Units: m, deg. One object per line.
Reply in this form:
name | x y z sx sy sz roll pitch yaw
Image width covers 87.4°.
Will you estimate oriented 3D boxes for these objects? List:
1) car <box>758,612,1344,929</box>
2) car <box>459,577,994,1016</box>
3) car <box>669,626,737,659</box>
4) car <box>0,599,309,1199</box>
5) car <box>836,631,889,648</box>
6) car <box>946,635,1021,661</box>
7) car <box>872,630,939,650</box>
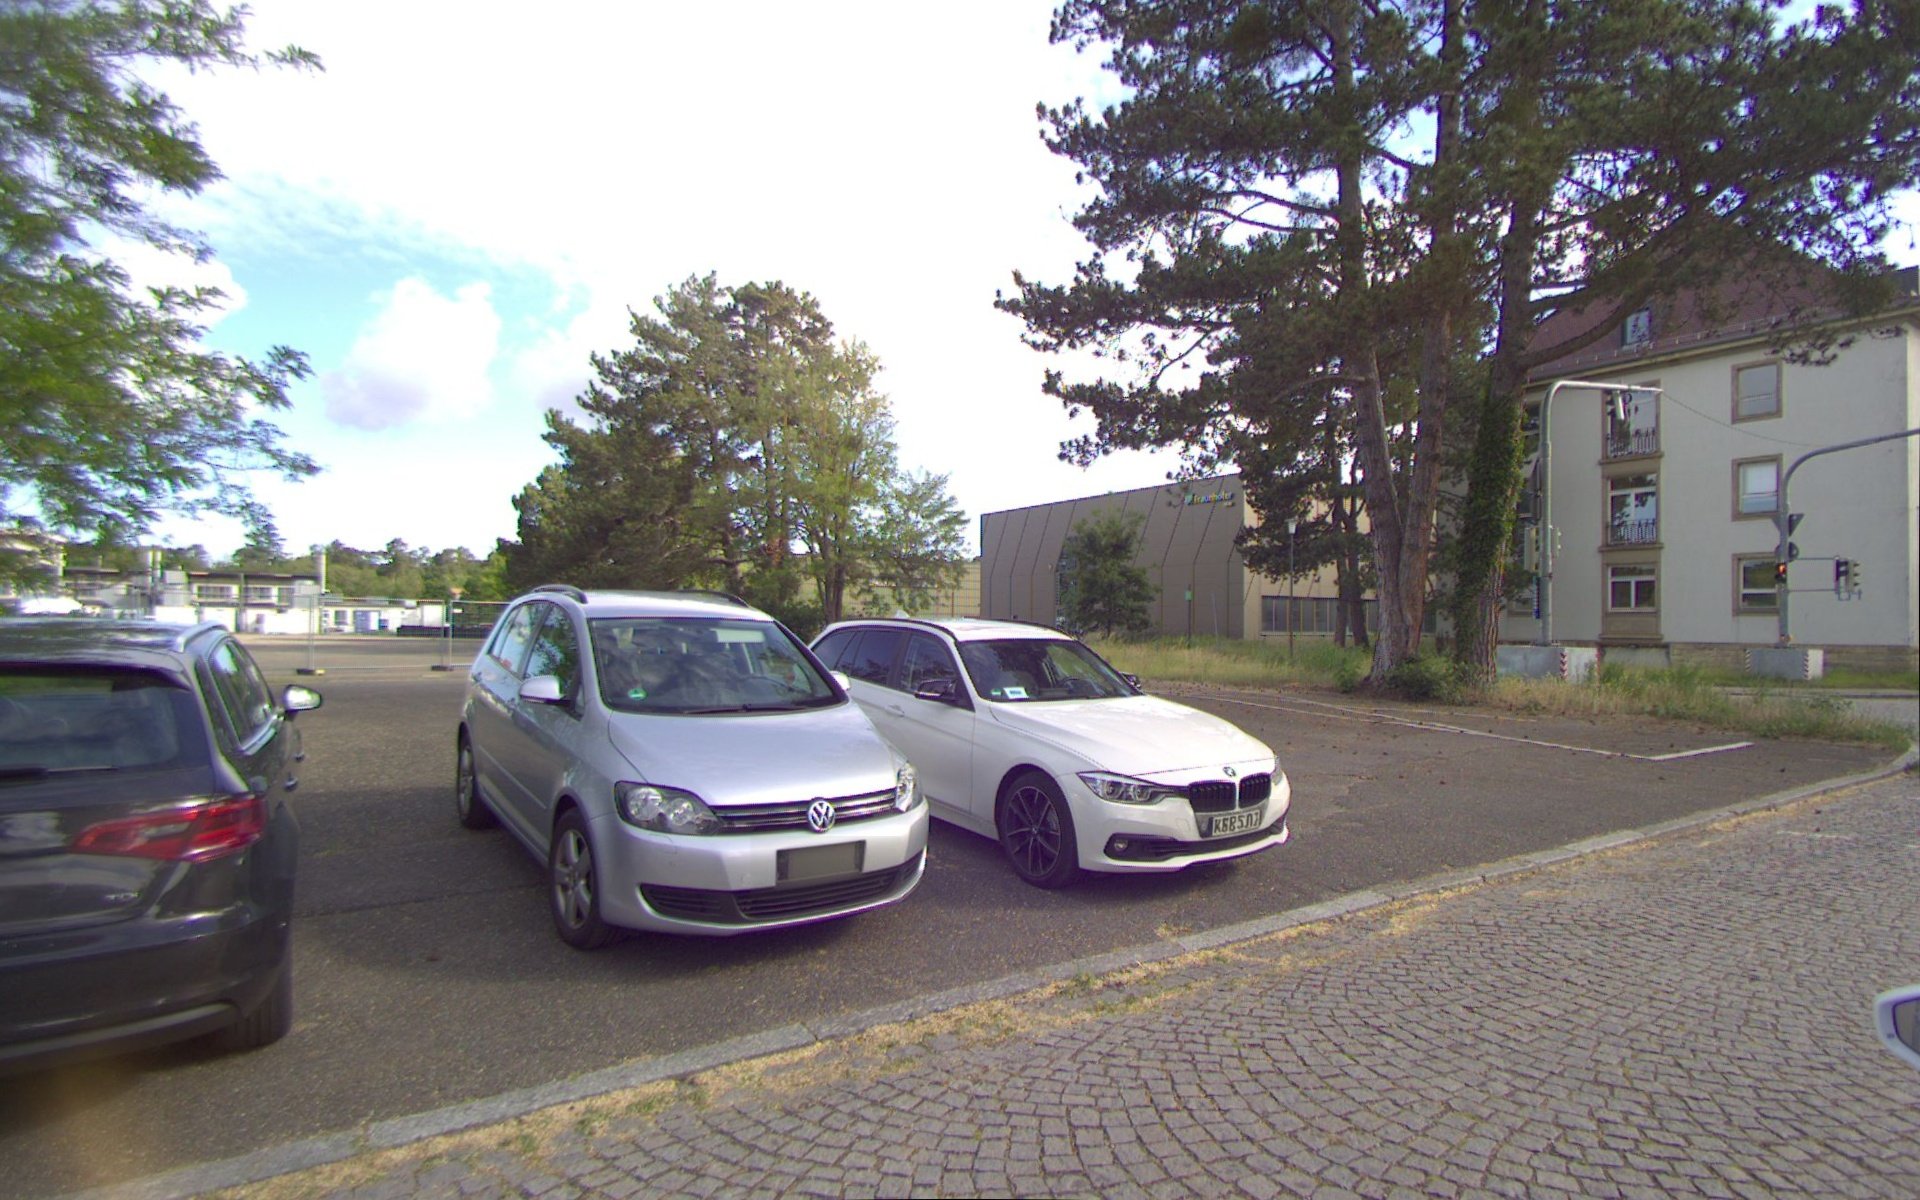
car | 0.298 0.896 7.373 1.813 1.461 4.446 1 0 -36
car | -1.642 0.723 5.835 1.718 1.628 3.805 1 1 -35
car | -11.267 1.821 43.968 1.577 1.355 3.703 1 -2 -37
car | -3.654 0.773 4.070 1.677 1.427 3.813 1 1 -33
car | -7.050 2.861 72.872 3.623 1.217 1.319 1 -2 -30
car | 1.395 2.778 58.636 4.082 1.433 1.750 1 -2 -30
car | -3.597 2.626 66.379 4.148 1.289 1.598 1 -2 -30
